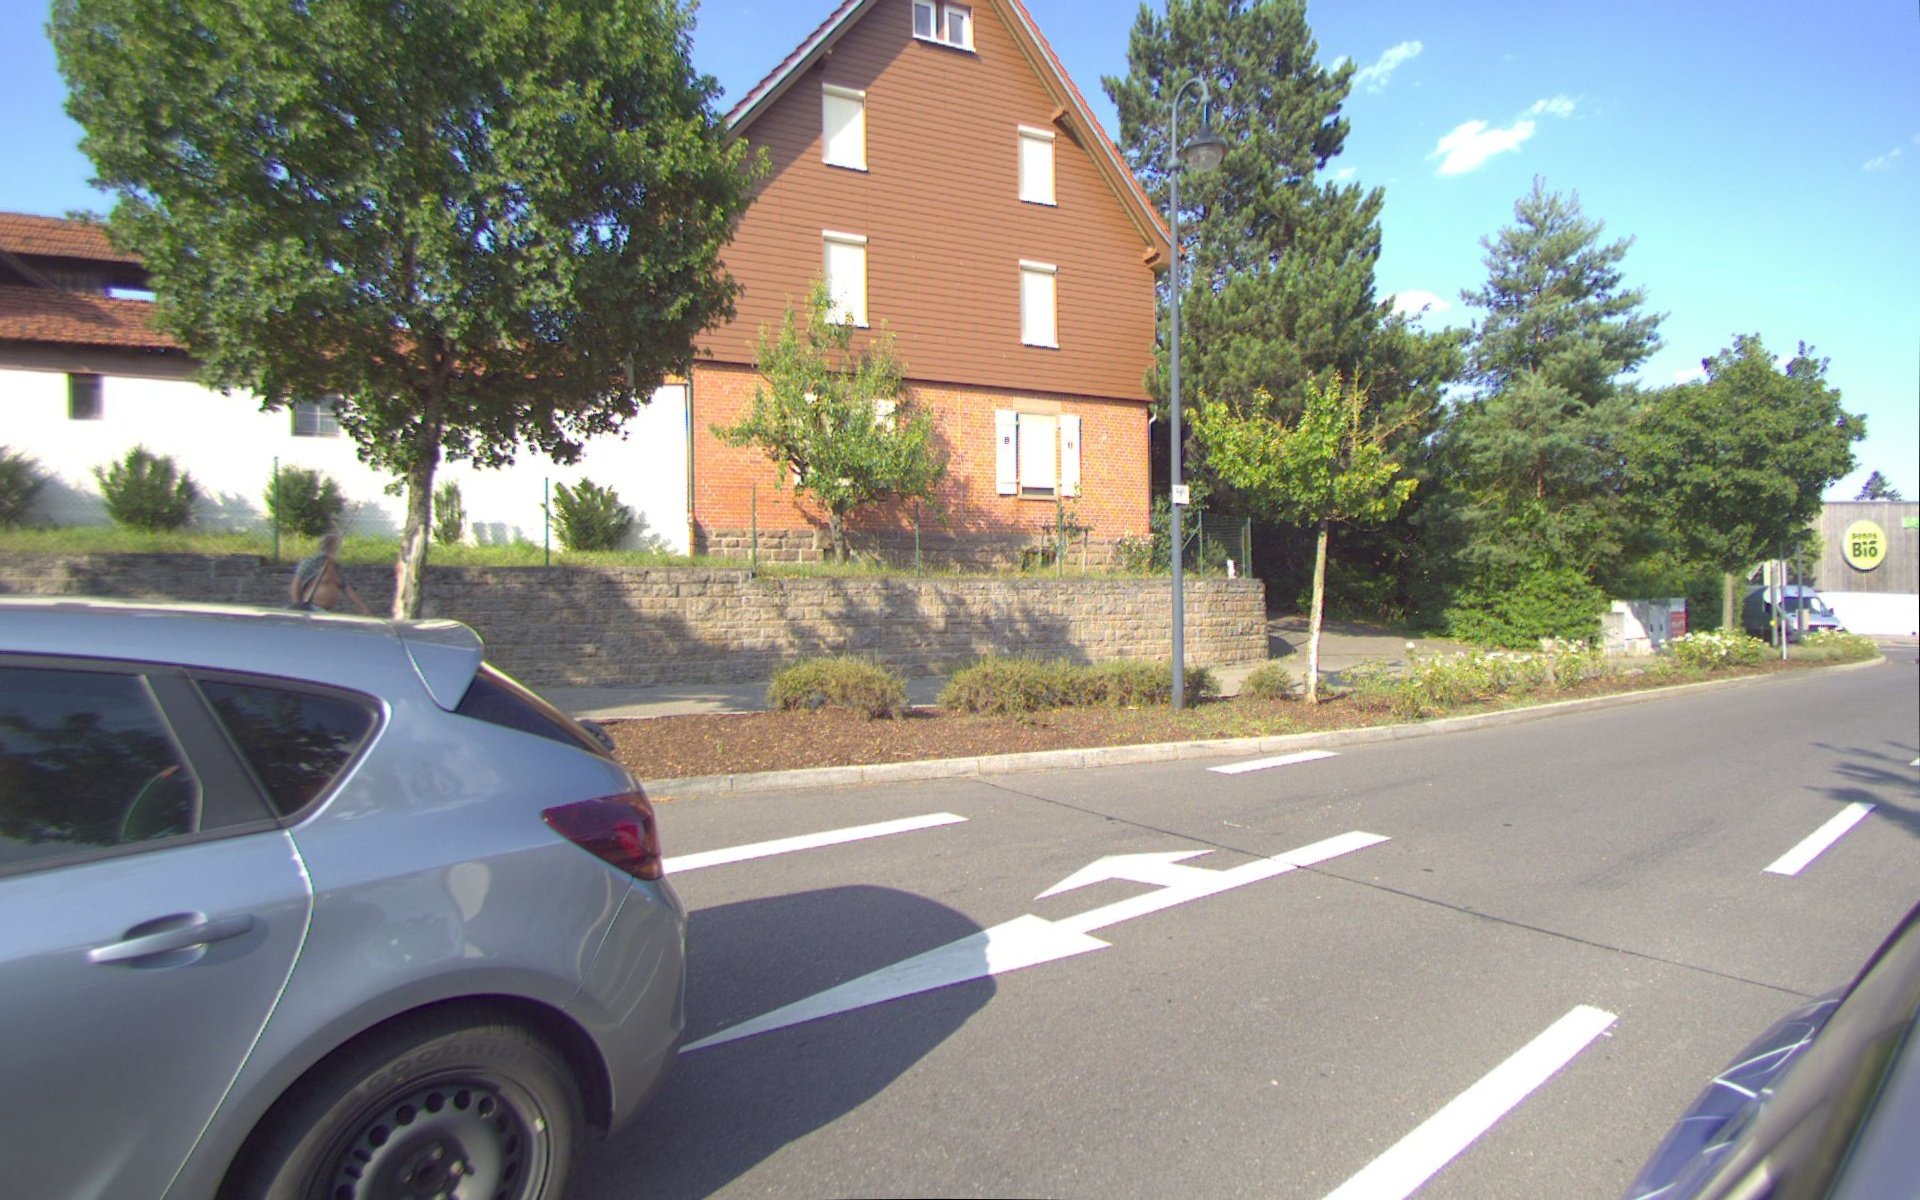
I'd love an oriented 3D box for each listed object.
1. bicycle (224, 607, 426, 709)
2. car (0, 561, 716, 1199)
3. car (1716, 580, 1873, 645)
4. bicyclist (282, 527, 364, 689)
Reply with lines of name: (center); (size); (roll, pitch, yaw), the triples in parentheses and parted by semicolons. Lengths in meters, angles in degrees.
bicycle: (-6.881, 0.599, 11.074); (1.838, 1.031, 0.523); (0, 0, -29)
car: (-2.674, 0.668, 1.663); (4.093, 1.460, 1.747); (0, 1, -40)
car: (35.179, 0.454, 42.975); (2.334, 2.579, 6.176); (0, 1, 9)
bicyclist: (-6.937, 0.082, 11.047); (0.719, 1.699, 0.605); (0, 0, -28)
